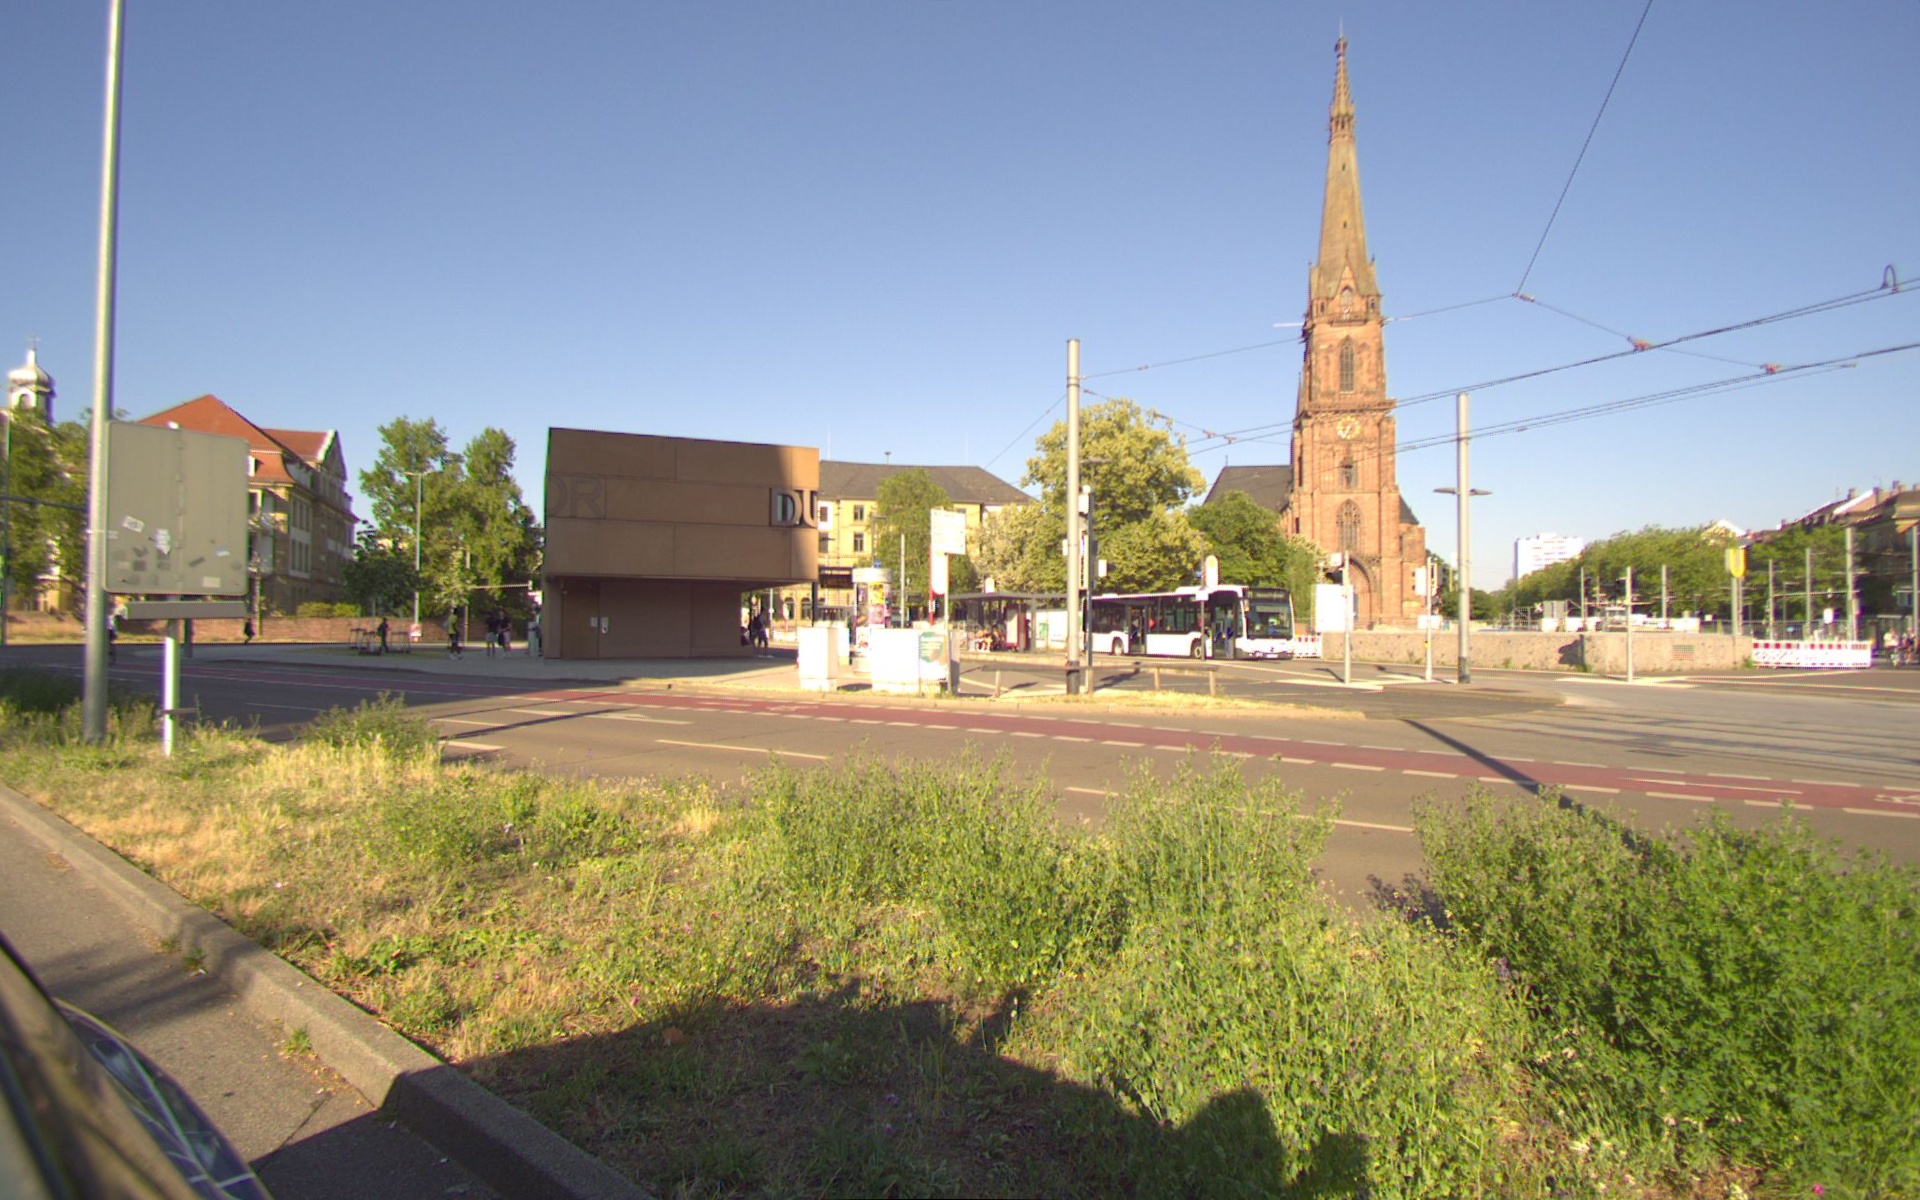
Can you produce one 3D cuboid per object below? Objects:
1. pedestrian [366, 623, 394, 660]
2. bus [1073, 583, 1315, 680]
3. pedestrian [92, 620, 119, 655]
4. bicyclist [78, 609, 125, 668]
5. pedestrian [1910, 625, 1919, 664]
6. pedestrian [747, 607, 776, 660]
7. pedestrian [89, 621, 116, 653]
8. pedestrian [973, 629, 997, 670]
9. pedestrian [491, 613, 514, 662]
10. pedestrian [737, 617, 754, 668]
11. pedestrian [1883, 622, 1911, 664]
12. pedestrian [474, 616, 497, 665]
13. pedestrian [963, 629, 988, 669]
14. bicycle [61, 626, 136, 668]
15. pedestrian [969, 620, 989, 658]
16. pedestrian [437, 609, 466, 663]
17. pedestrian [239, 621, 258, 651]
[{"bbox_3d":[-27.163,1.954,47.391,0.745,1.697,0.890,-1,-2,30],"label":"pedestrian"},{"bbox_3d":[9.244,1.101,42.564,3.194,3.342,12.229,4,-1,-23],"label":"bus"},{"bbox_3d":[-47.259,2.076,55.970,0.710,1.908,0.864,3,0,28],"label":"pedestrian"},{"bbox_3d":[-27.265,1.203,32.130,1.007,1.846,0.737,0,-1,22],"label":"bicyclist"},{"bbox_3d":[42.048,1.942,44.150,0.727,1.662,0.785,-1,-2,37],"label":"pedestrian"},{"bbox_3d":[-7.648,1.308,38.961,0.964,1.997,0.721,1,-3,-23],"label":"pedestrian"},{"bbox_3d":[-46.796,2.036,55.227,0.710,1.686,0.864,3,0,28],"label":"pedestrian"},{"bbox_3d":[1.226,2.405,49.230,0.964,1.997,0.721,1,-3,-21],"label":"pedestrian"},{"bbox_3d":[-16.720,1.361,36.968,0.723,1.744,0.667,-1,-2,-24],"label":"pedestrian"},{"bbox_3d":[-8.721,1.723,41.162,0.604,2.029,0.809,-1,-2,-13],"label":"pedestrian"},{"bbox_3d":[39.789,1.814,42.982,0.727,1.791,0.785,-1,-2,37],"label":"pedestrian"},{"bbox_3d":[-16.736,1.414,35.692,0.629,1.702,0.551,0,-3,-36],"label":"pedestrian"},{"bbox_3d":[0.787,2.478,50.946,0.979,1.997,0.831,1,-3,-21],"label":"pedestrian"},{"bbox_3d":[-27.382,1.463,32.175,2.539,1.265,0.736,0,-1,23],"label":"bicycle"},{"bbox_3d":[1.005,2.093,53.722,0.802,1.997,0.757,1,-3,-21],"label":"pedestrian"},{"bbox_3d":[-17.794,1.261,35.385,0.639,1.849,0.709,-4,-3,41],"label":"pedestrian"},{"bbox_3d":[-41.221,2.069,58.631,0.780,1.665,0.715,3,0,-33],"label":"pedestrian"}]
